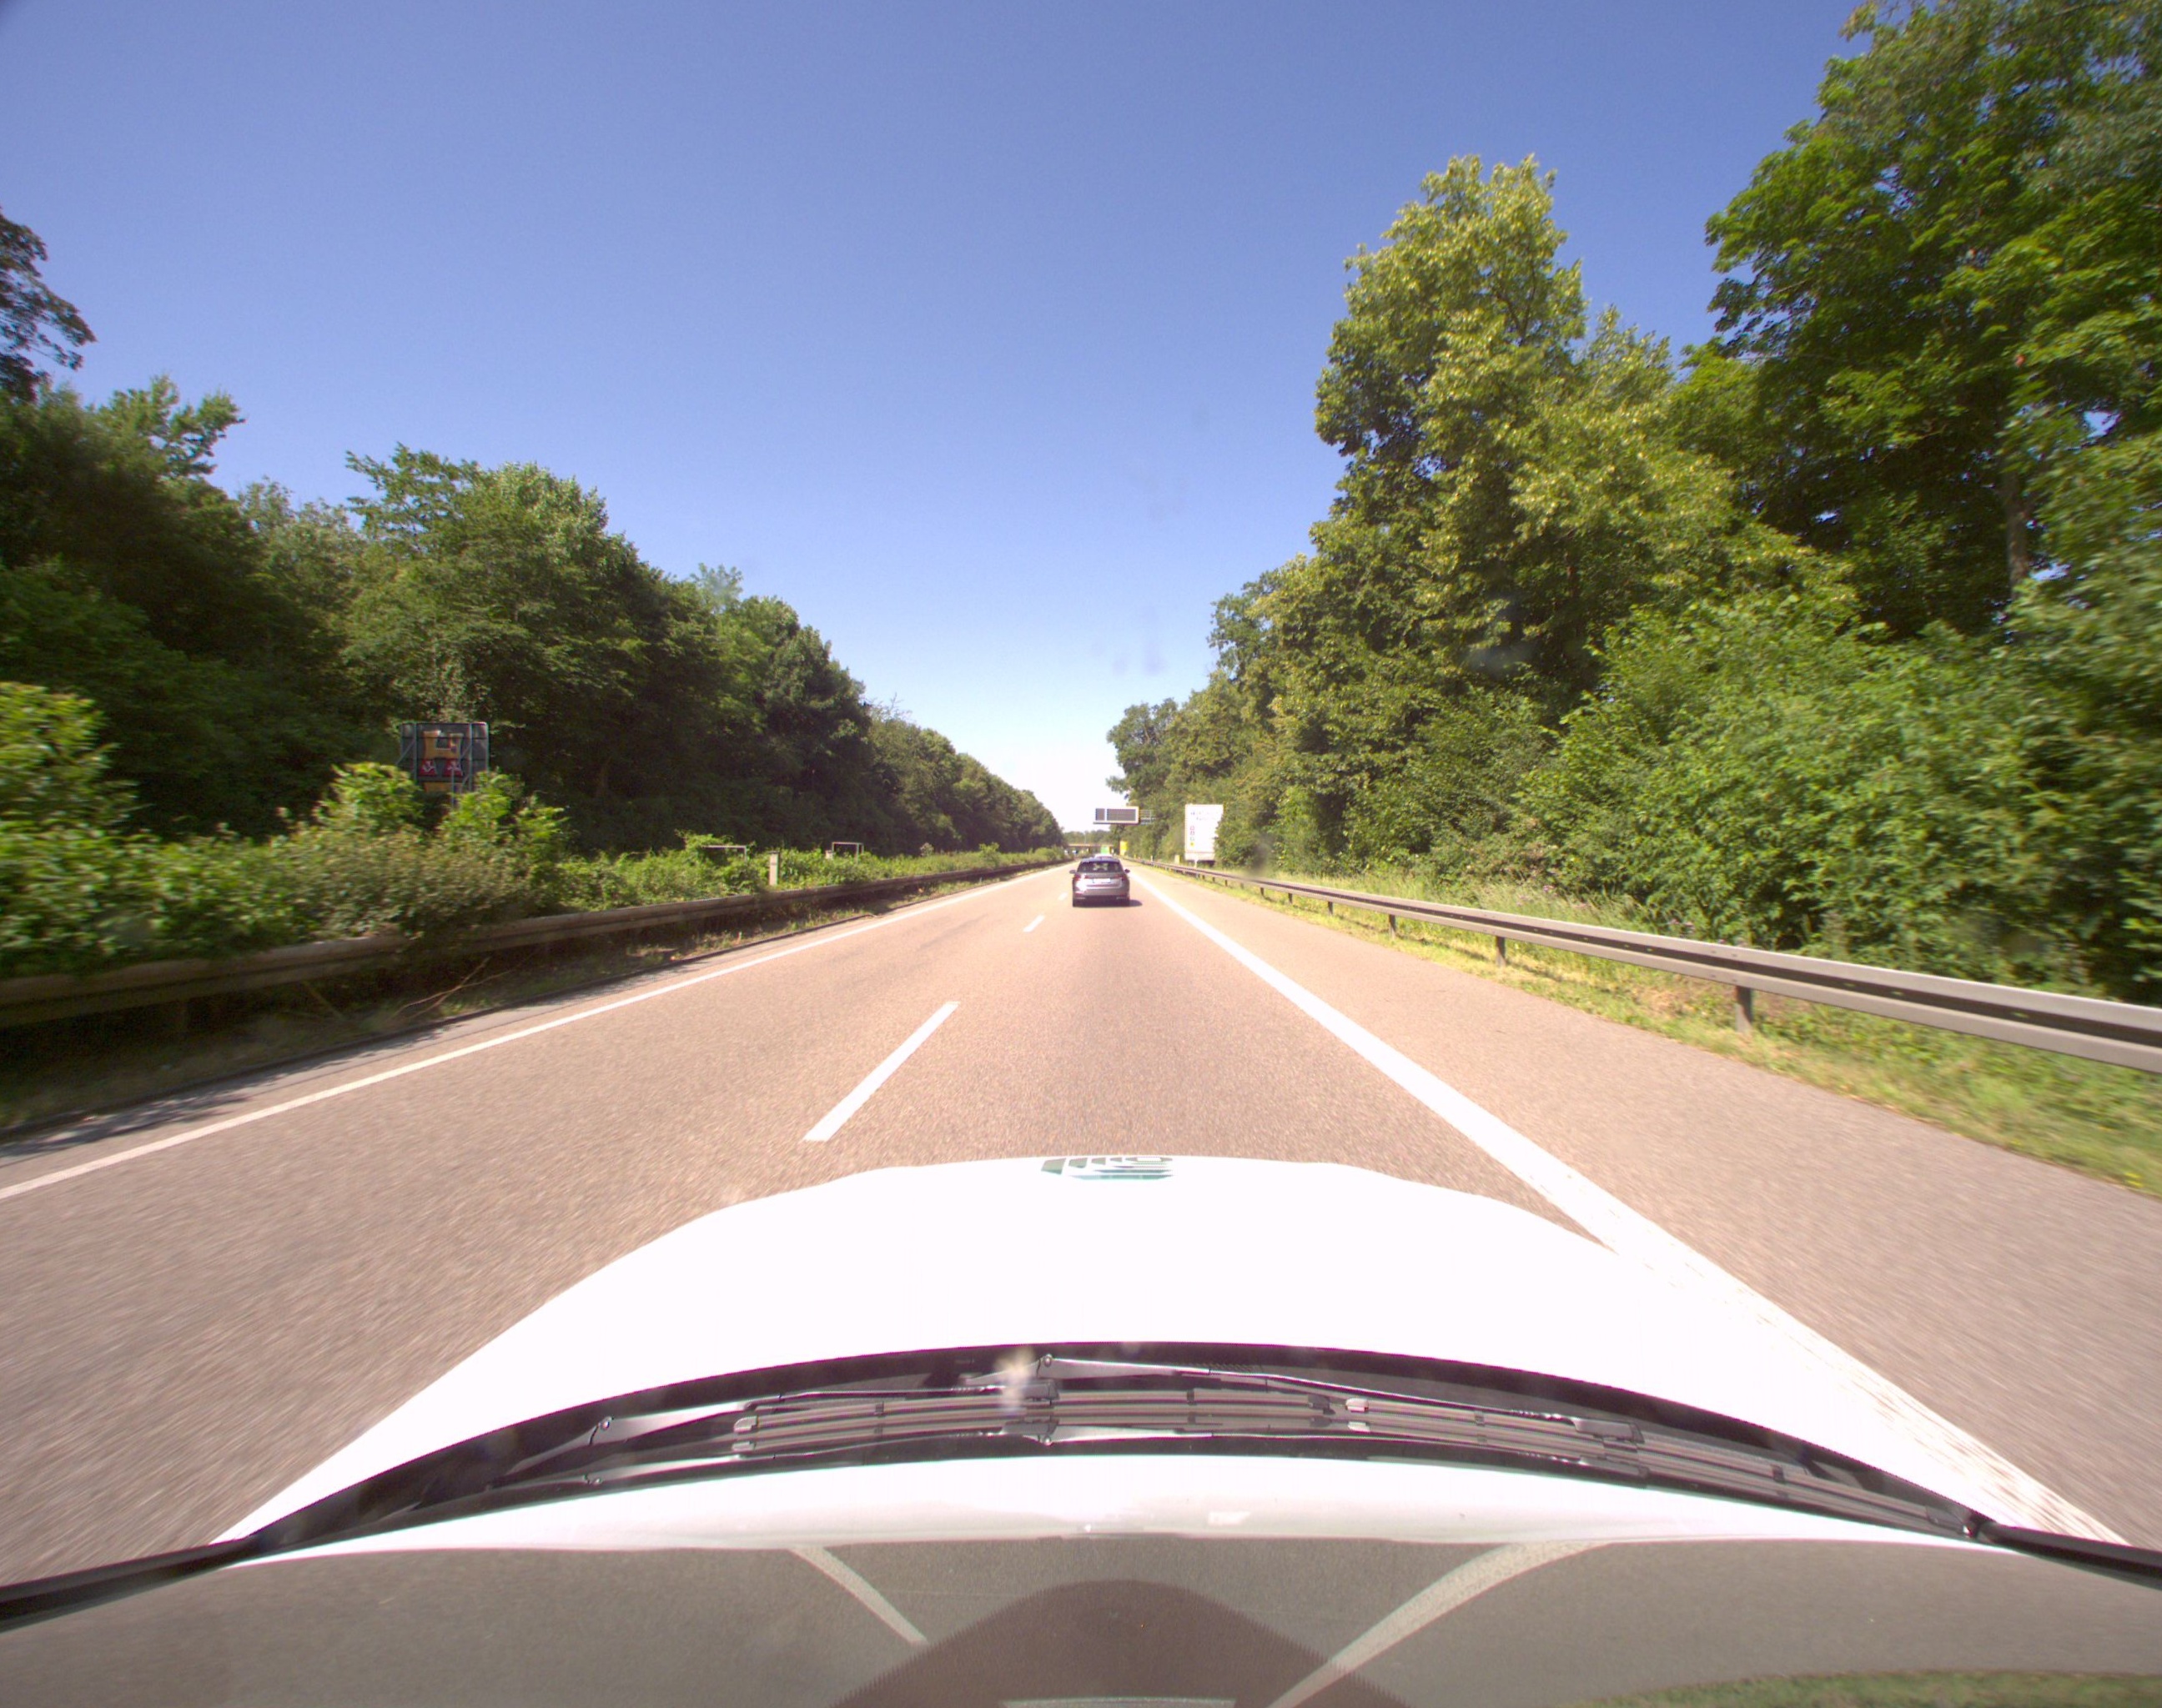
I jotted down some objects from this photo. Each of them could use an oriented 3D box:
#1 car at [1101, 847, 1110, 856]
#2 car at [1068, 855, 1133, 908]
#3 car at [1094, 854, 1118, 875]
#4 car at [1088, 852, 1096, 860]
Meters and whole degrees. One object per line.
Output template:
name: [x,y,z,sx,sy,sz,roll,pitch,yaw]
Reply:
car: [7.433,-0.881,248.889,2.738,2.654,4.002,0,-1,2]
car: [0.656,0.785,24.840,1.832,1.472,3.627,0,0,3]
car: [1.759,0.703,56.804,1.516,1.446,3.343,0,0,3]
car: [3.035,0.507,221.344,1.986,2.014,4.002,0,-1,2]
